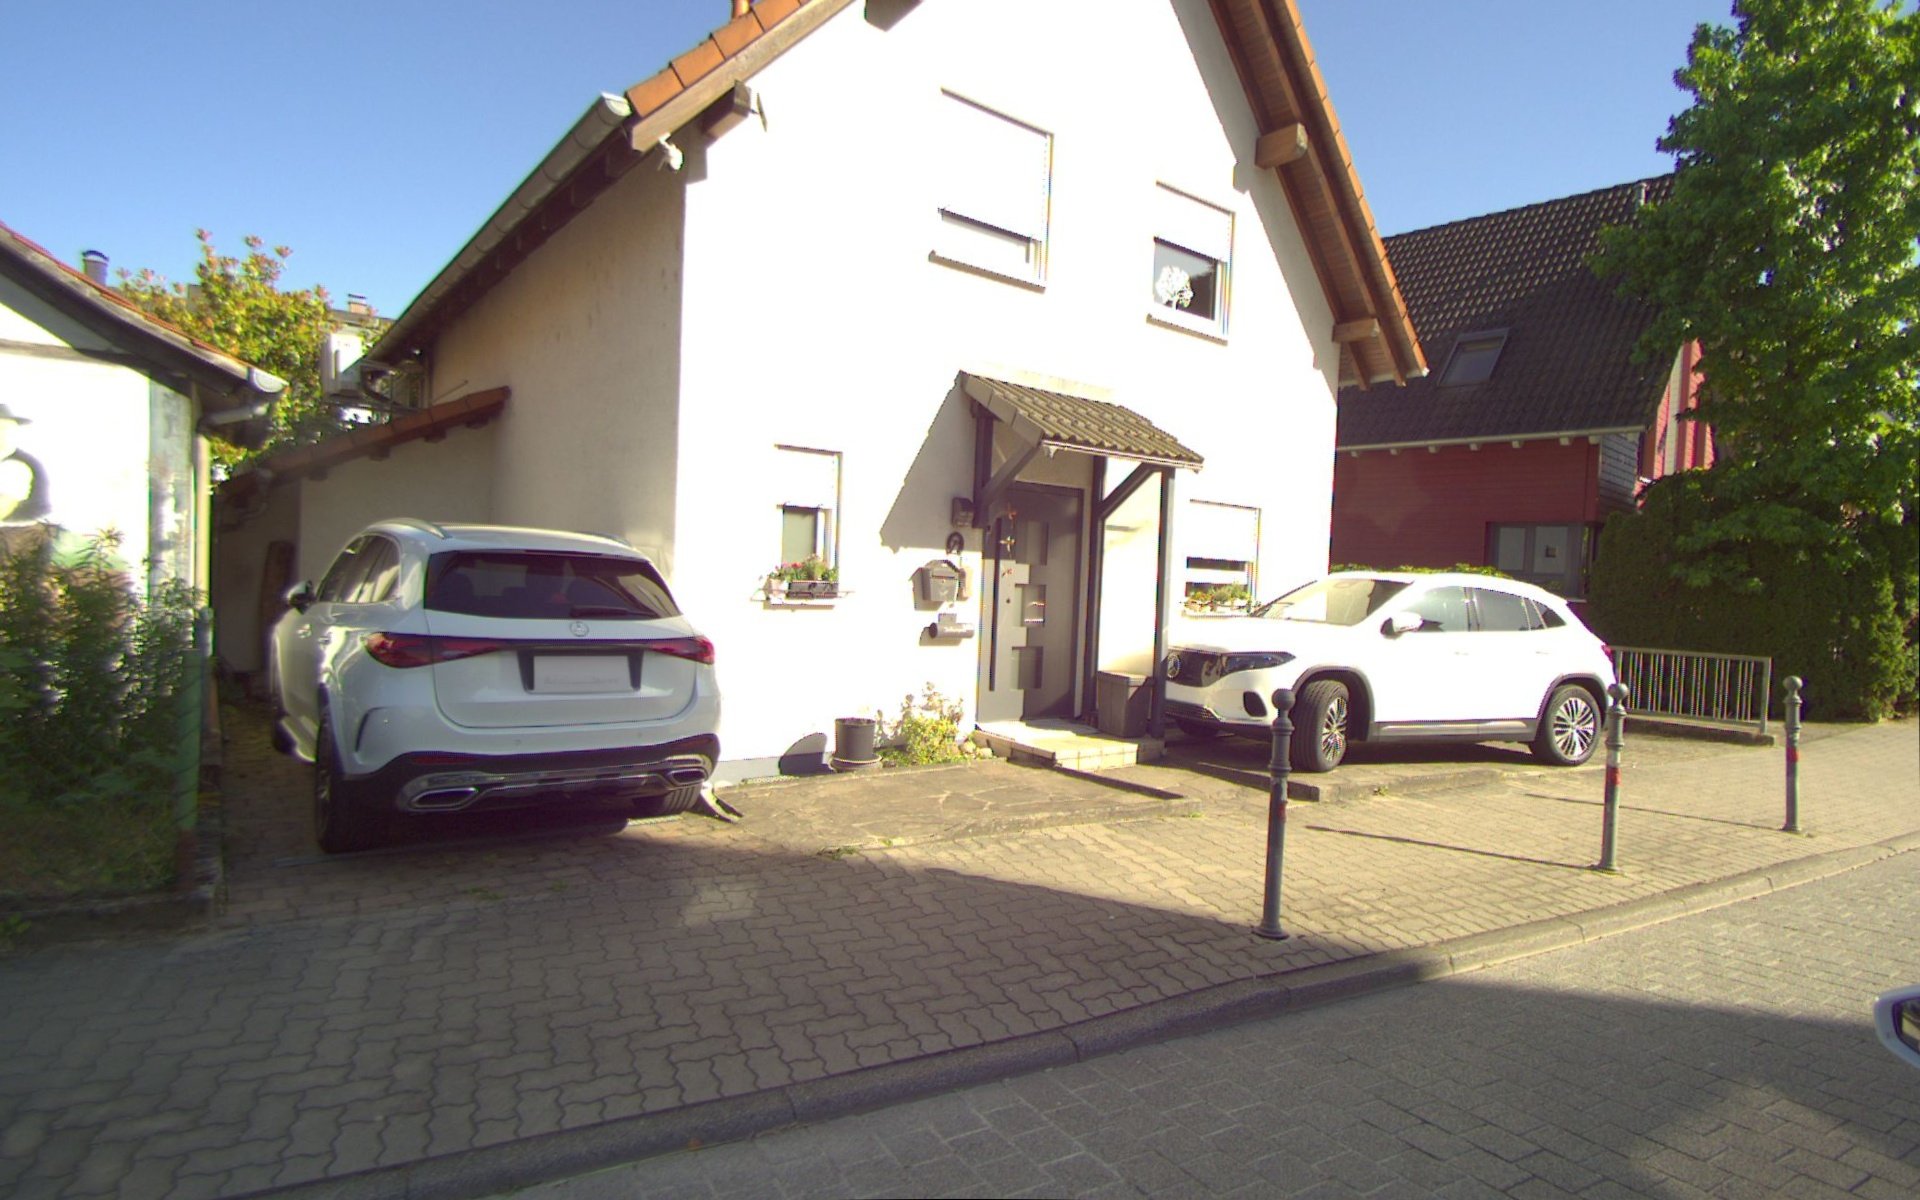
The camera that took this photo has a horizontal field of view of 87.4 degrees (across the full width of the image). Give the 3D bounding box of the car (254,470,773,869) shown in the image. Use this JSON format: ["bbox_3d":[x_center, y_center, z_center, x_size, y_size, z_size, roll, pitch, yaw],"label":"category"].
[{"bbox_3d":[-3.011,0.163,6.217,1.983,1.610,3.954,1,4,-39],"label":"car"}]

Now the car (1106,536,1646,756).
[{"bbox_3d":[3.714,0.376,9.006,4.380,1.617,1.813,2,2,-22],"label":"car"}]
